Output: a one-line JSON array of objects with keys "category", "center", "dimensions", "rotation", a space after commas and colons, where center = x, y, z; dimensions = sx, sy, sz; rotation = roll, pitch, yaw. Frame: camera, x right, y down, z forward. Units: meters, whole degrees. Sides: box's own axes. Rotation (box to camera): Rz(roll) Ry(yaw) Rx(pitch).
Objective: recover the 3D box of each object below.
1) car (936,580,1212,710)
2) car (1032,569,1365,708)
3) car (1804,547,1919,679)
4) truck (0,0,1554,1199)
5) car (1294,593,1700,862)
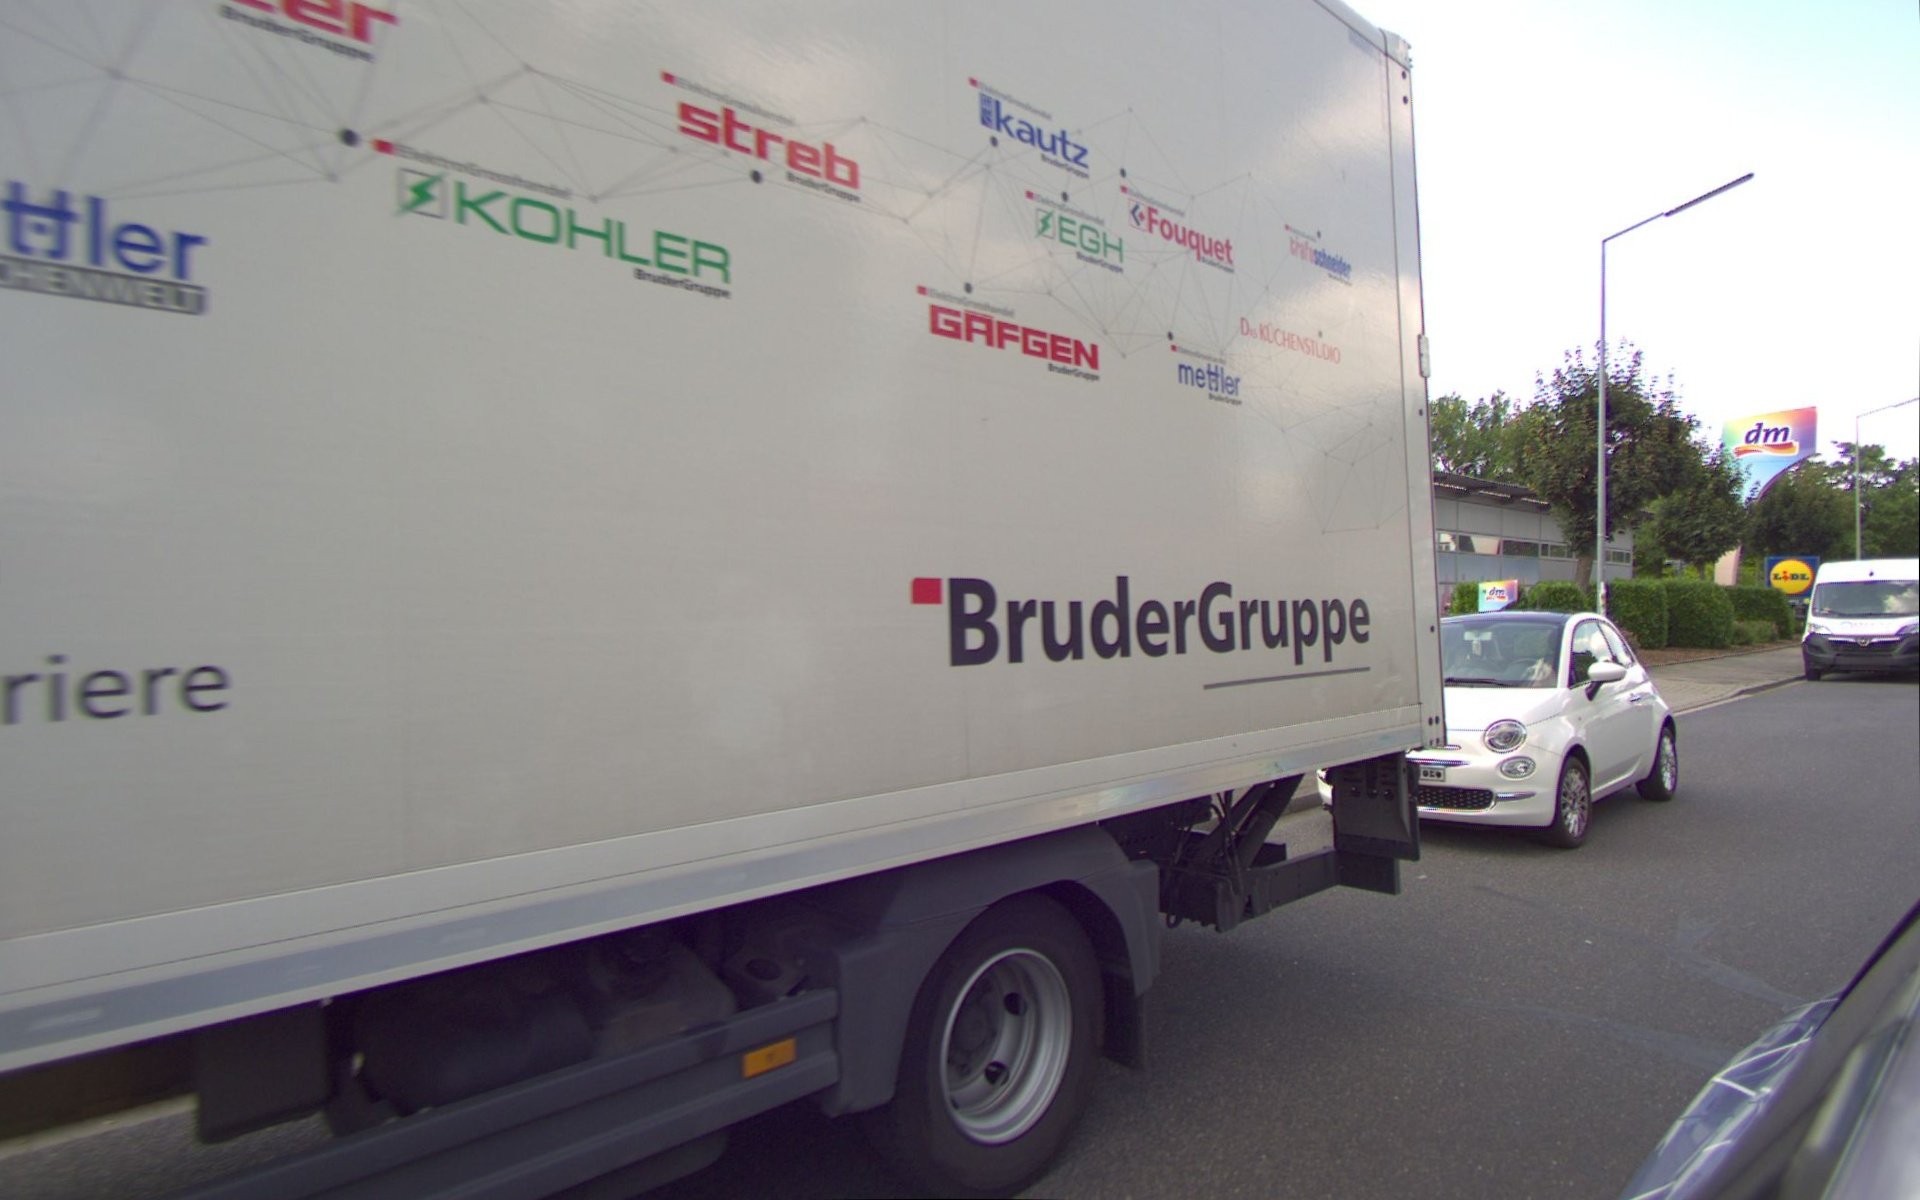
[{"category": "car", "center": [1.477, 0.515, 14.251], "dimensions": [1.624, 1.518, 3.820], "rotation": [0, 1, -39]}, {"category": "car", "center": [3.516, 0.453, 15.823], "dimensions": [1.869, 1.810, 4.902], "rotation": [0, 2, -41]}, {"category": "car", "center": [19.391, 0.245, 20.986], "dimensions": [5.360, 2.440, 2.054], "rotation": [0, -2, -41]}, {"category": "truck", "center": [-1.740, -0.607, 2.358], "dimensions": [8.133, 4.169, 2.782], "rotation": [0, -2, -41]}, {"category": "car", "center": [4.136, 0.746, 7.559], "dimensions": [3.564, 1.531, 1.546], "rotation": [0, -2, -43]}]
